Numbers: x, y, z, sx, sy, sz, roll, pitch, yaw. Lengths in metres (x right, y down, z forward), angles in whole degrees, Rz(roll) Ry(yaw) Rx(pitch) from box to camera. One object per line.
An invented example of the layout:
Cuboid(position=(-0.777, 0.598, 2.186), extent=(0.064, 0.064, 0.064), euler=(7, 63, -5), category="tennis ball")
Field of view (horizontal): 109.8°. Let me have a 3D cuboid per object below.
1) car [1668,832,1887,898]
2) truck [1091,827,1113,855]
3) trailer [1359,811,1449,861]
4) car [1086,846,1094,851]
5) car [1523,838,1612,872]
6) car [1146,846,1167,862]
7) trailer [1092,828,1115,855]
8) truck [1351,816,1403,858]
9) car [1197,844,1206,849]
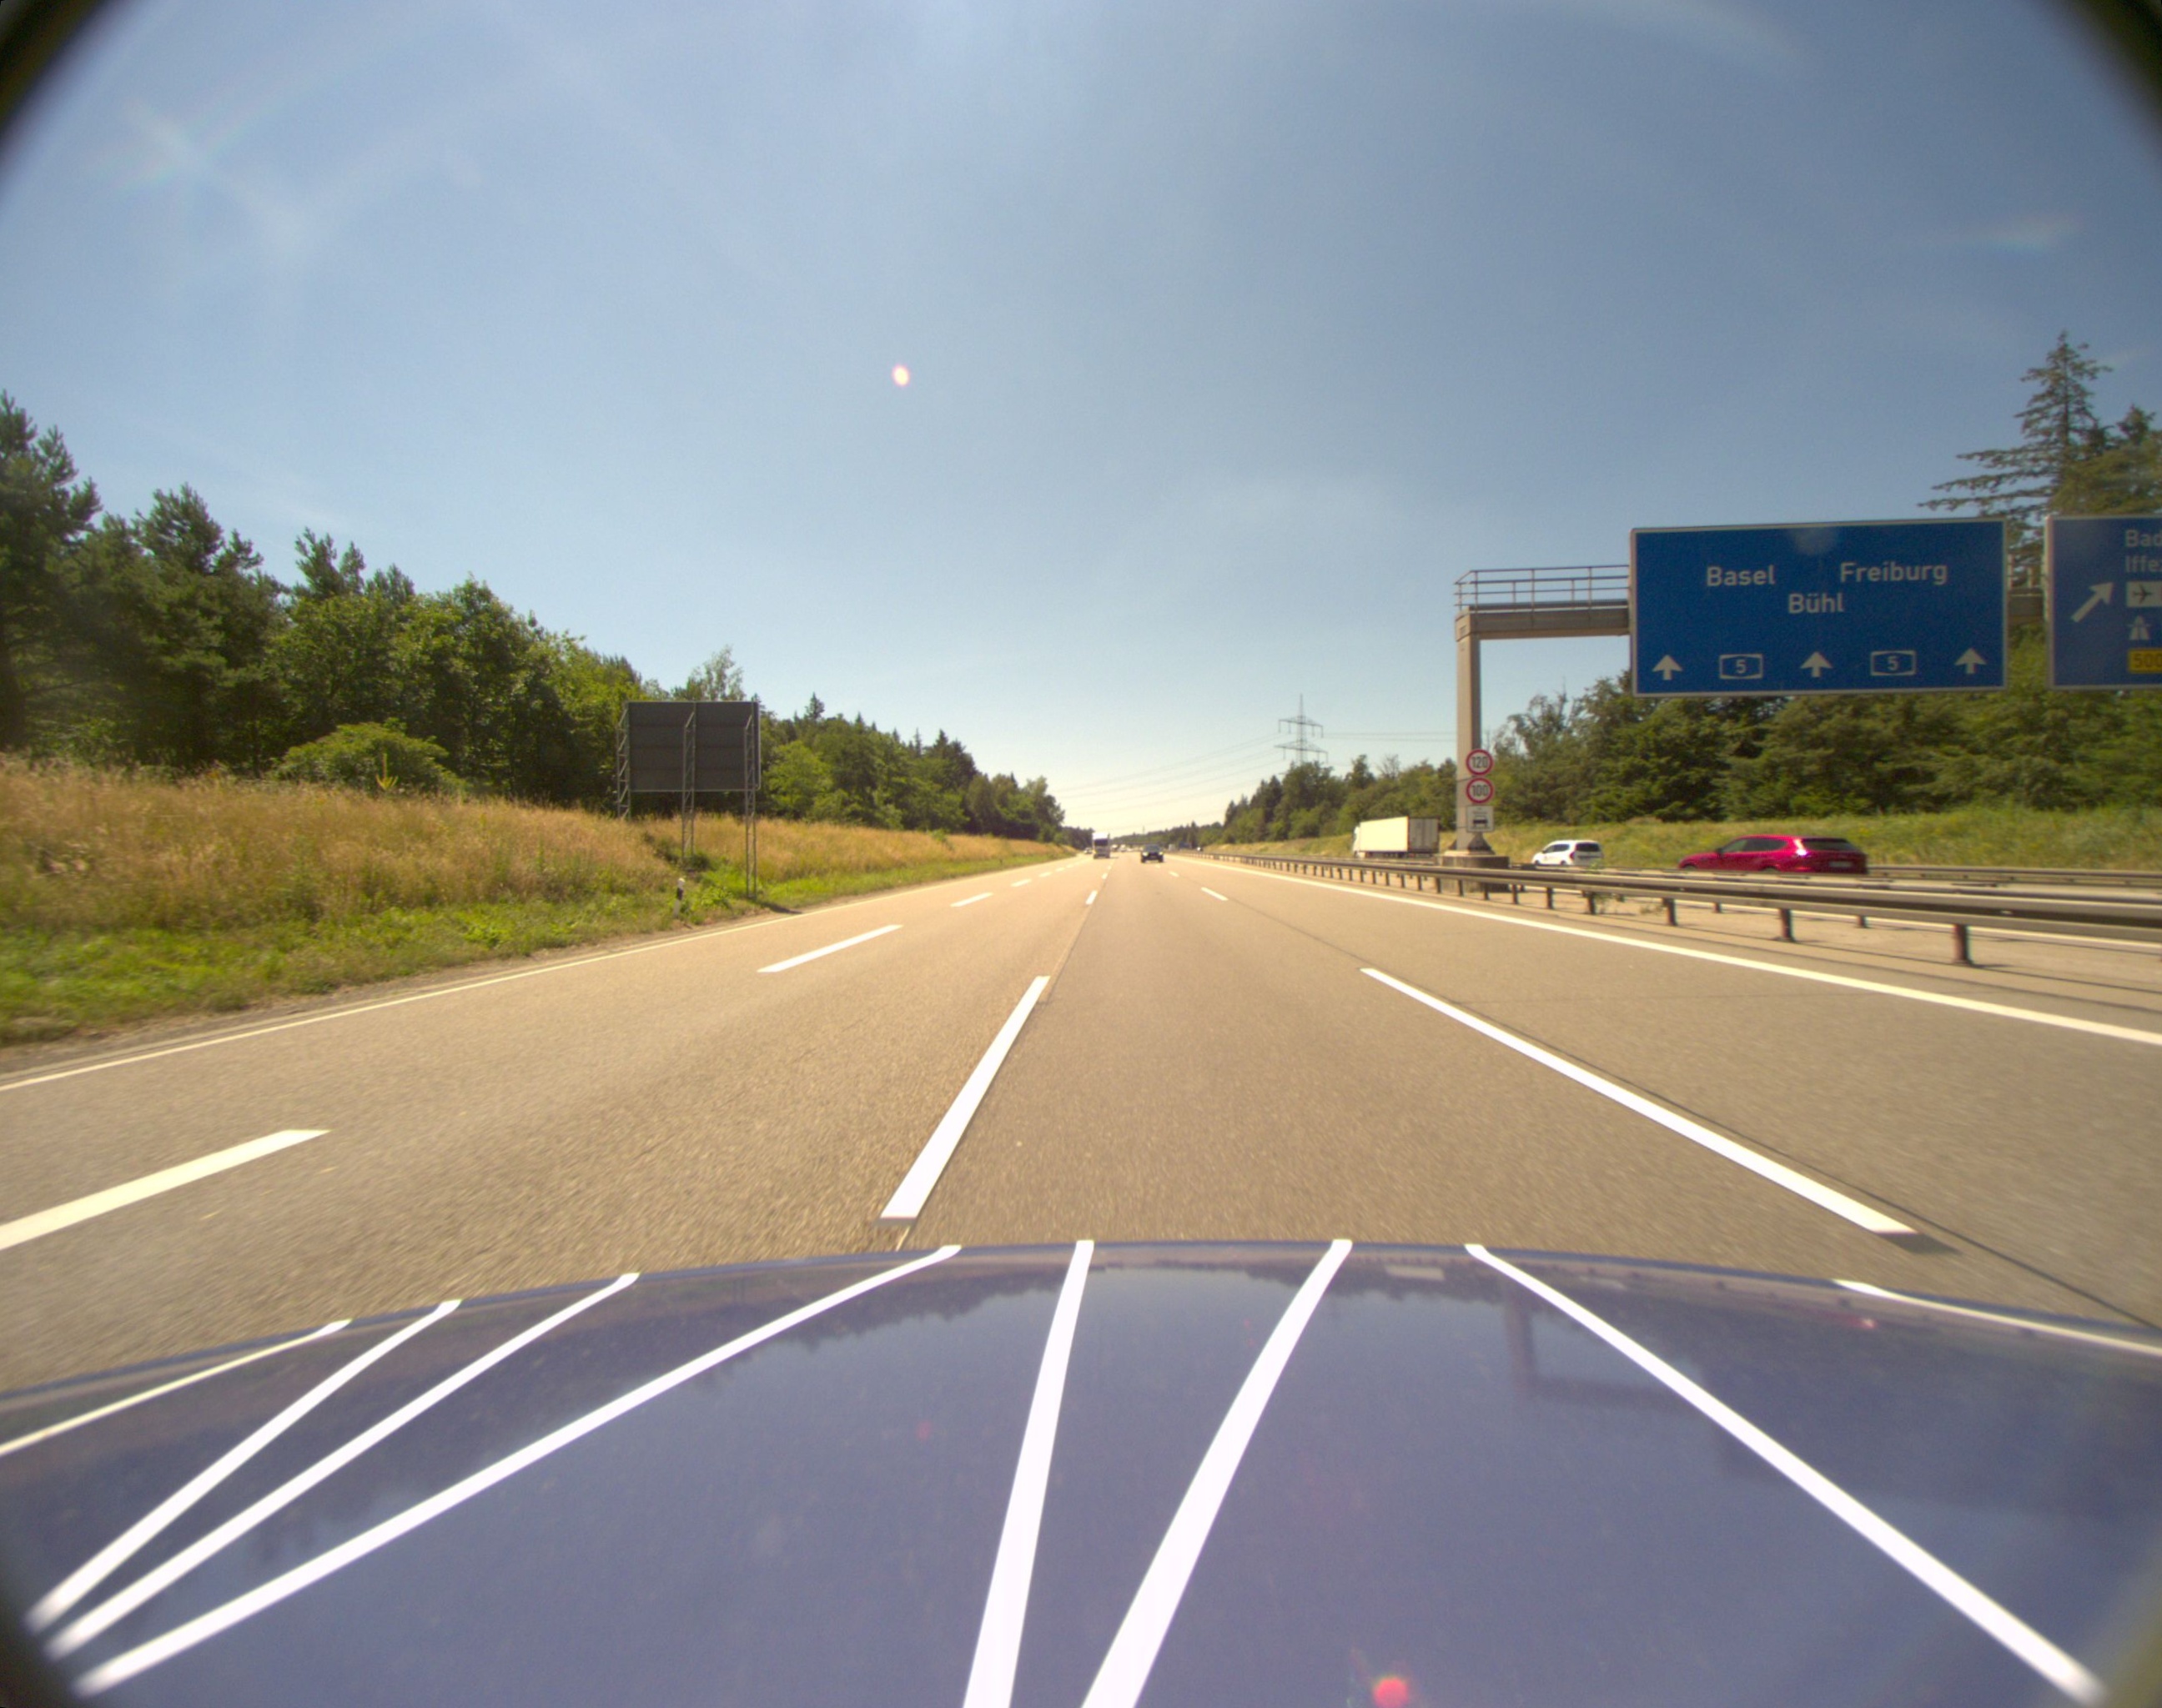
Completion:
Cuboid(position=(19.420, 0.242, 21.570), extent=(1.851, 1.601, 4.921), euler=(-2, 1, 3), category="car")
Cuboid(position=(3.339, -1.976, 117.295), extent=(2.979, 4.118, 5.350), euler=(-1, 0, 5), category="truck")
Cuboid(position=(29.291, -1.551, 69.852), extent=(3.221, 4.019, 14.363), euler=(-2, 1, 5), category="trailer")
Cuboid(position=(2.705, -1.732, 230.403), extent=(1.898, 1.417, 4.262), euler=(-3, 1, 5), category="car")
Cuboid(position=(27.223, 0.016, 42.734), extent=(1.998, 1.739, 4.991), euler=(-2, 1, 3), category="car")
Cuboid(position=(7.167, -0.012, 72.590), extent=(1.898, 1.417, 4.262), euler=(-3, 1, 5), category="car")
Cuboid(position=(3.772, -1.991, 122.666), extent=(2.981, 4.118, 11.699), euler=(-1, 0, 5), category="trailer")
Cuboid(position=(29.903, -1.660, 77.009), extent=(3.221, 3.995, 6.216), euler=(-2, 1, 5), category="truck")
Cuboid(position=(34.695, -2.188, 218.934), extent=(1.830, 1.501, 4.743), euler=(-1, 1, 2), category="car")
